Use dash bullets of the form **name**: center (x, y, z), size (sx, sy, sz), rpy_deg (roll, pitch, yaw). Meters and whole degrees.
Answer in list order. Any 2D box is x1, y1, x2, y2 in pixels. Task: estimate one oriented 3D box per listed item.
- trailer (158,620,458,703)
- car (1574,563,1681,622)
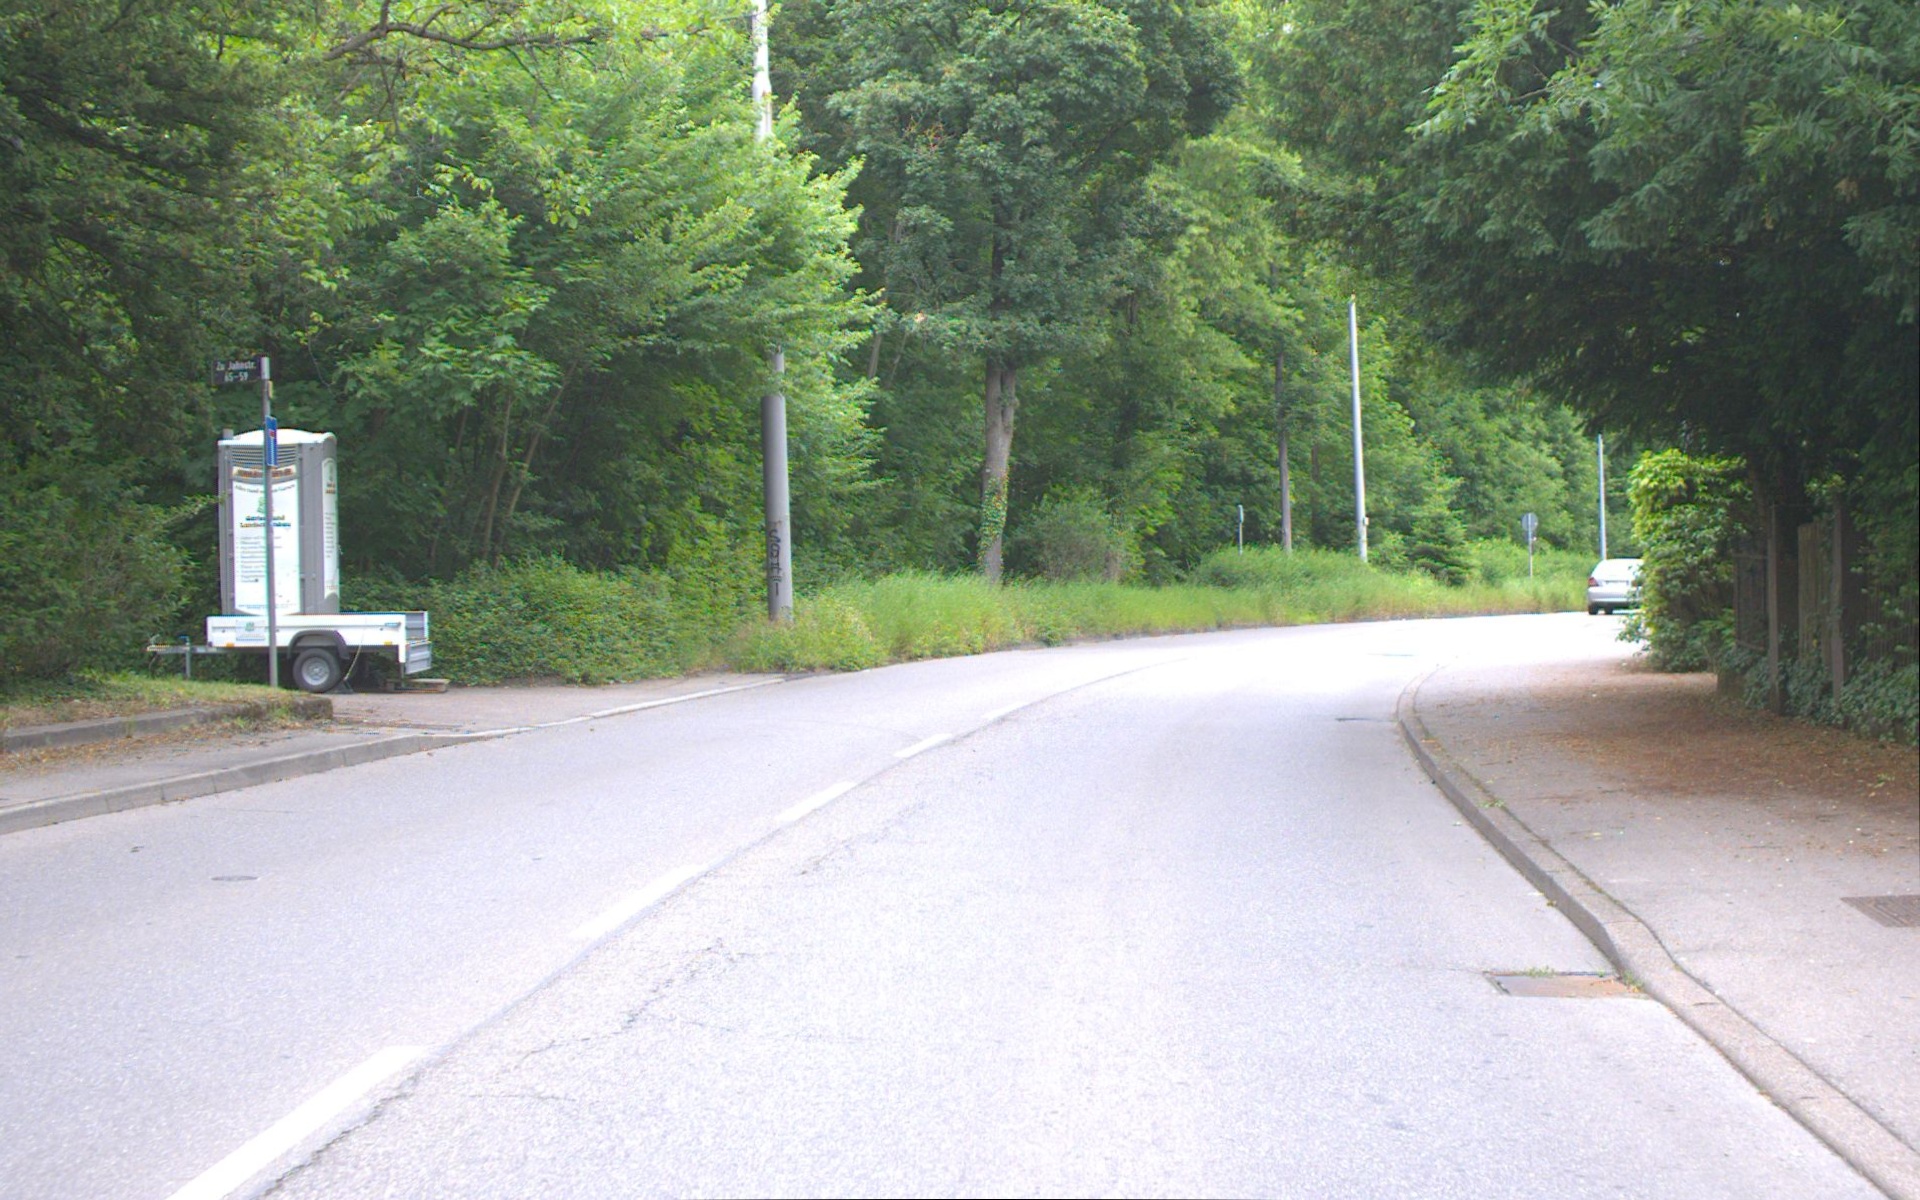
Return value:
- **trailer**: center (-6.858, 0.640, 36.328), size (2.954, 0.826, 1.476), rpy_deg (-1, 0, -4)
- **car**: center (17.268, -0.195, 88.829), size (1.996, 1.481, 3.995), rpy_deg (-1, 0, 22)
